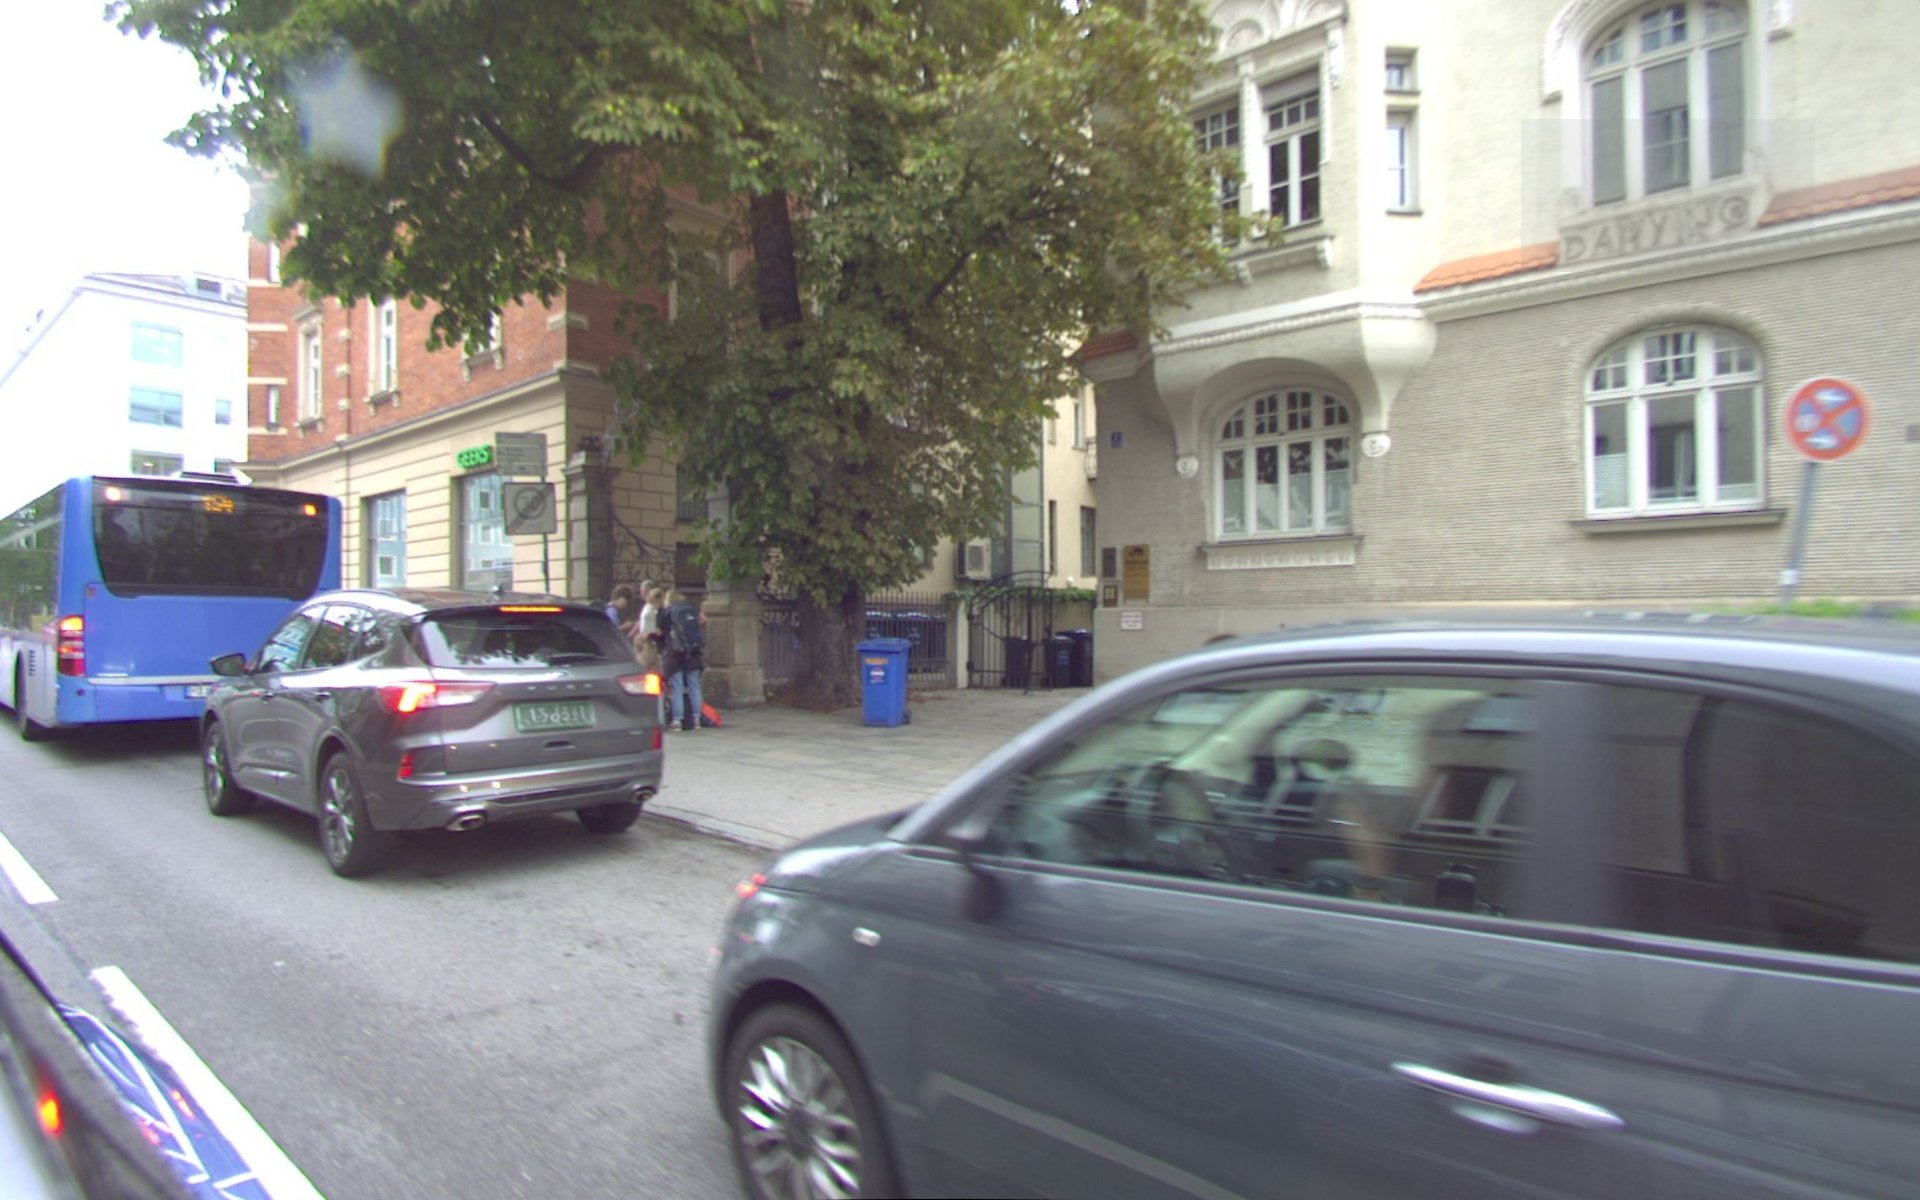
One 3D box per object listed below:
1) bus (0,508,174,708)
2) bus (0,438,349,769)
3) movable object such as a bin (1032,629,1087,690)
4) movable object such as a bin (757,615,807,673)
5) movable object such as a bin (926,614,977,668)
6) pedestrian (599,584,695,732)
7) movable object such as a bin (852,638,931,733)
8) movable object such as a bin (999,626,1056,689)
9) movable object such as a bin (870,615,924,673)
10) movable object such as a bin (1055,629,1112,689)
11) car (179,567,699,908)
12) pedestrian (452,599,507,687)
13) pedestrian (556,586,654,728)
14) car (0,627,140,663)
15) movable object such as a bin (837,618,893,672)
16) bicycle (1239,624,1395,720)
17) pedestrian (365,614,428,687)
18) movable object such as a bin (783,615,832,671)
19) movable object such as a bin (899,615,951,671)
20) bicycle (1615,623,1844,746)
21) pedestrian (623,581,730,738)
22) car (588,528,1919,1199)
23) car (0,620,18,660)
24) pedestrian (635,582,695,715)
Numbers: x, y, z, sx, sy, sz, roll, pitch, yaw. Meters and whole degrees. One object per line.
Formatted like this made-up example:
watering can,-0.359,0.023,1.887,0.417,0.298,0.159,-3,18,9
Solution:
bus,-17.794,0.221,19.543,9.105,3.124,2.552,-1,-2,42
bus,-11.095,0.131,13.502,8.920,3.124,2.552,-1,-2,42
movable object such as a bin,1.850,1.090,18.815,0.614,1.094,0.814,0,-1,-45
movable object such as a bin,-3.494,0.850,19.814,0.614,1.094,0.814,0,-1,-45
movable object such as a bin,-0.201,0.937,23.373,0.844,1.221,0.814,0,-1,-45
pedestrian,-3.897,0.698,12.616,0.786,1.758,0.864,-1,-2,41
movable object such as a bin,-0.836,1.021,12.417,0.622,1.094,0.804,-1,-1,32
movable object such as a bin,1.218,1.015,18.232,0.614,1.094,0.814,0,-1,-45
movable object such as a bin,-1.379,0.950,22.053,0.844,1.221,0.814,0,-1,-45
movable object such as a bin,2.362,1.112,19.344,0.722,1.094,0.814,0,-1,-45
car,-3.792,0.719,7.003,4.271,1.657,1.749,-1,-2,41
pedestrian,-8.650,0.763,18.205,0.753,1.550,0.618,-1,-2,39
pedestrian,-4.611,0.715,13.148,0.910,1.758,0.864,-1,-2,41
car,-38.419,1.880,42.925,1.998,1.439,5.371,-1,-2,40
movable object such as a bin,-2.014,0.932,21.411,0.844,1.100,0.814,0,-1,-45
bicycle,4.642,0.907,13.249,1.833,1.172,0.611,-1,-2,40
pedestrian,-10.751,0.944,19.309,0.753,1.351,0.820,-1,-2,39
movable object such as a bin,-3.068,0.847,20.353,0.614,1.094,0.814,0,-1,-45
movable object such as a bin,-0.780,0.943,22.699,0.844,1.221,0.814,0,-1,-45
bicycle,7.933,0.830,10.510,1.833,1.172,0.611,-1,-2,40
pedestrian,-3.340,0.674,11.947,0.846,1.758,0.898,-1,-2,41
car,0.885,0.700,2.204,3.781,1.490,1.567,-1,-2,41
car,-35.921,1.406,35.272,1.998,1.439,4.300,-1,-2,40
pedestrian,-4.075,0.654,13.975,0.773,1.758,0.878,0,-1,-17
